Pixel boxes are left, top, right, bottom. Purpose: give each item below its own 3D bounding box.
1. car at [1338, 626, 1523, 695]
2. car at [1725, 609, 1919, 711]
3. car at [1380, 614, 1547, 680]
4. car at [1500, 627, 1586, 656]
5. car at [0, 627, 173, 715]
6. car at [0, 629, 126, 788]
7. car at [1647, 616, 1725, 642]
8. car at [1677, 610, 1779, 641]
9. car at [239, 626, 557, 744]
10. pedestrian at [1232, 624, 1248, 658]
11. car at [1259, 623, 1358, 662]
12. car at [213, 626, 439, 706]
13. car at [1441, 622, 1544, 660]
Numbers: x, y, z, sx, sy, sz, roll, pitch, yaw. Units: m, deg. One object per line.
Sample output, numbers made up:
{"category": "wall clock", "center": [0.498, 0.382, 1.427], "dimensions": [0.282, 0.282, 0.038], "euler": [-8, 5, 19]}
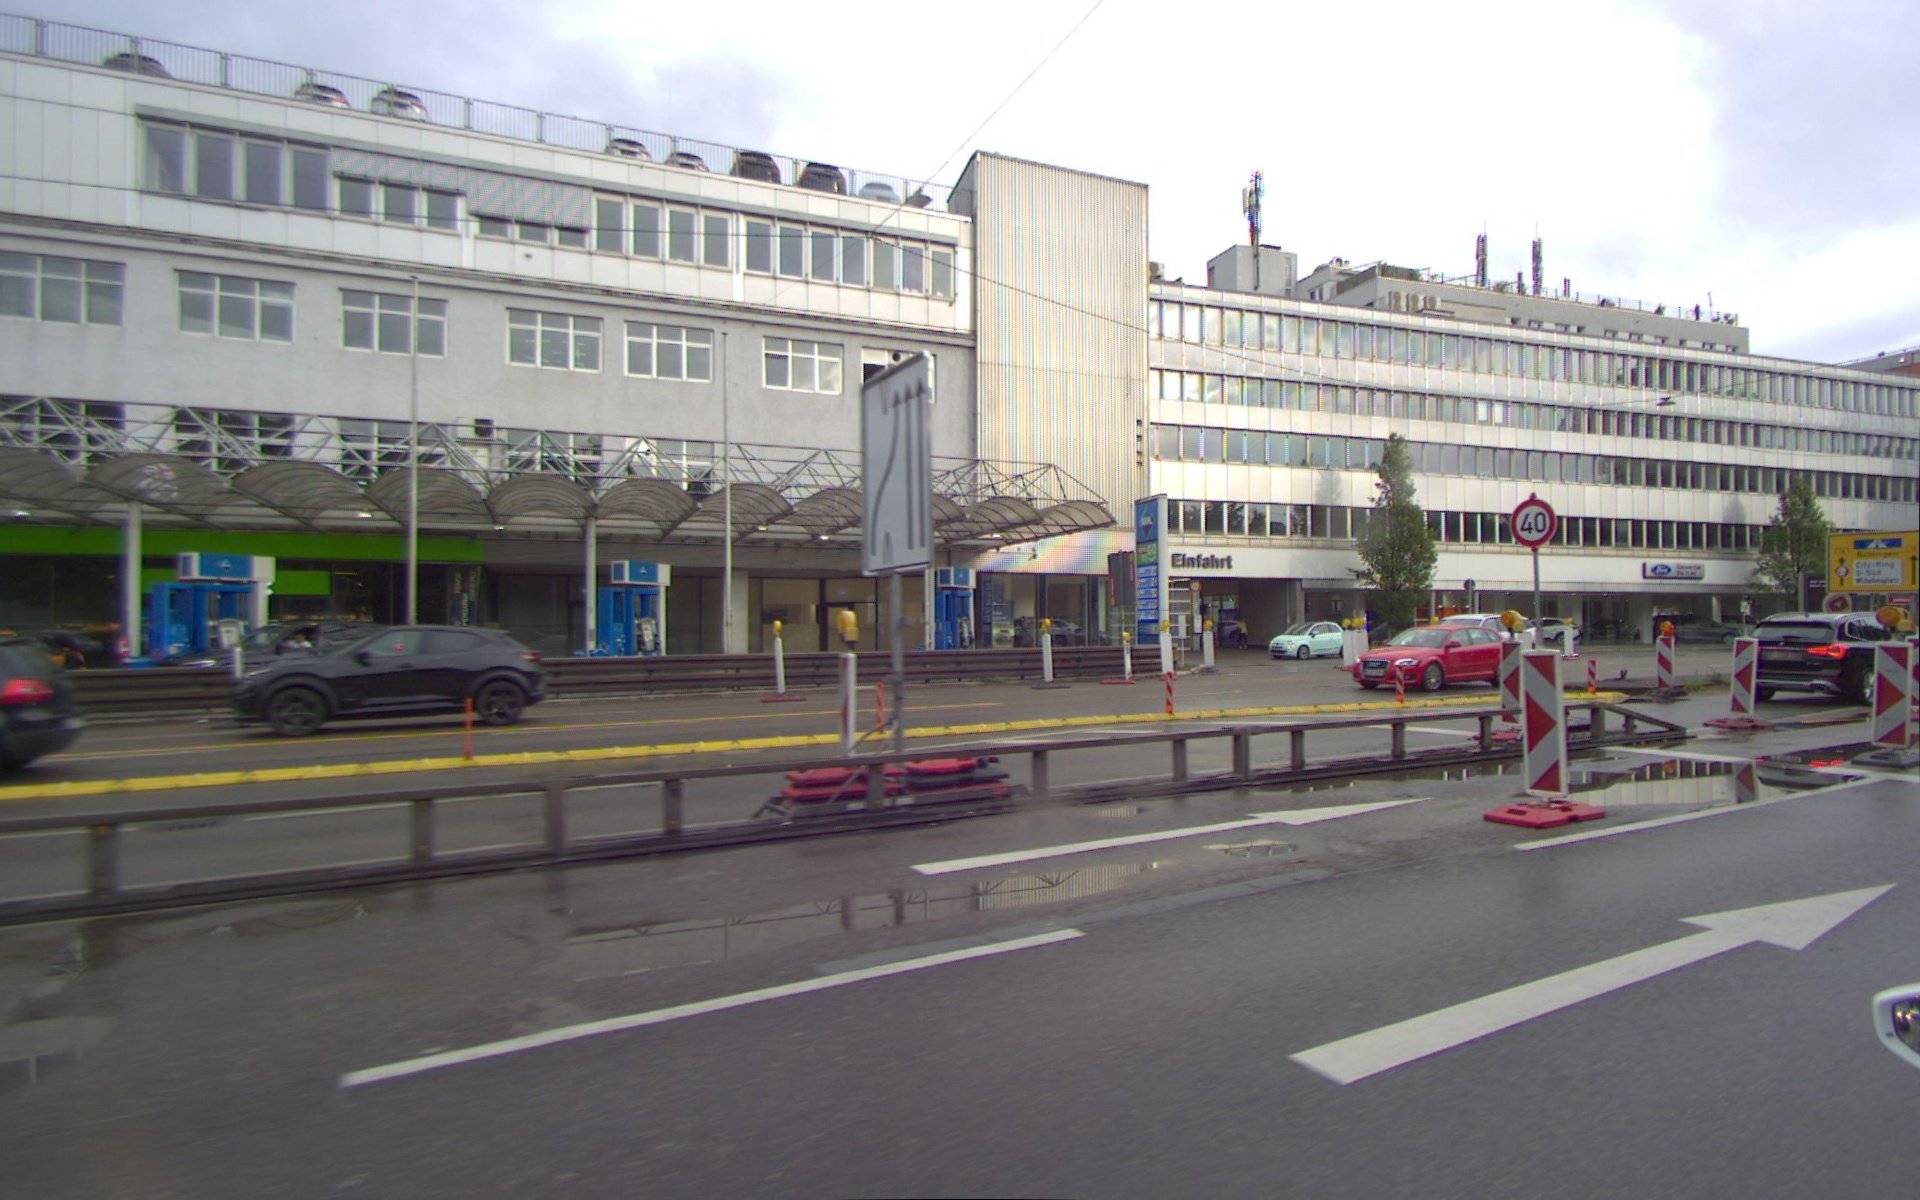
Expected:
{"category": "car", "center": [10.647, 1.298, 22.659], "dimensions": [4.239, 1.422, 1.727], "euler": [1, -1, -31]}
{"category": "car", "center": [16.778, 1.031, 18.873], "dimensions": [4.606, 1.619, 1.941], "euler": [-1, 1, -25]}
{"category": "car", "center": [14.332, 1.293, 28.537], "dimensions": [4.775, 1.729, 1.970], "euler": [1, -2, -31]}
{"category": "car", "center": [34.834, 2.506, 60.148], "dimensions": [4.305, 1.673, 1.852], "euler": [-2, -3, 27]}
{"category": "car", "center": [-20.330, 1.551, 22.169], "dimensions": [1.927, 1.793, 4.450], "euler": [-2, -3, 11]}
{"category": "car", "center": [-11.169, 1.087, 9.889], "dimensions": [4.249, 1.541, 1.950], "euler": [0, -2, -30]}
{"category": "car", "center": [46.051, 1.866, 63.813], "dimensions": [3.934, 1.594, 1.994], "euler": [-3, -3, 34]}
{"category": "car", "center": [50.595, 1.727, 66.292], "dimensions": [4.891, 1.922, 2.000], "euler": [-2, -3, 20]}
{"category": "car", "center": [-8.418, 1.220, 15.343], "dimensions": [4.030, 1.556, 1.702], "euler": [0, -3, -30]}
{"category": "pedestrian", "center": [14.651, 2.131, 52.514], "dimensions": [0.656, 1.743, 0.706], "euler": [-2, -2, 27]}
{"category": "car", "center": [14.361, 1.749, 41.360], "dimensions": [3.703, 1.555, 1.649], "euler": [0, -3, -24]}
{"category": "car", "center": [-14.777, 1.532, 23.769], "dimensions": [1.973, 1.700, 4.484], "euler": [-2, -3, 11]}
{"category": "car", "center": [26.599, 2.034, 50.199], "dimensions": [4.656, 1.802, 1.847], "euler": [0, -3, -19]}
